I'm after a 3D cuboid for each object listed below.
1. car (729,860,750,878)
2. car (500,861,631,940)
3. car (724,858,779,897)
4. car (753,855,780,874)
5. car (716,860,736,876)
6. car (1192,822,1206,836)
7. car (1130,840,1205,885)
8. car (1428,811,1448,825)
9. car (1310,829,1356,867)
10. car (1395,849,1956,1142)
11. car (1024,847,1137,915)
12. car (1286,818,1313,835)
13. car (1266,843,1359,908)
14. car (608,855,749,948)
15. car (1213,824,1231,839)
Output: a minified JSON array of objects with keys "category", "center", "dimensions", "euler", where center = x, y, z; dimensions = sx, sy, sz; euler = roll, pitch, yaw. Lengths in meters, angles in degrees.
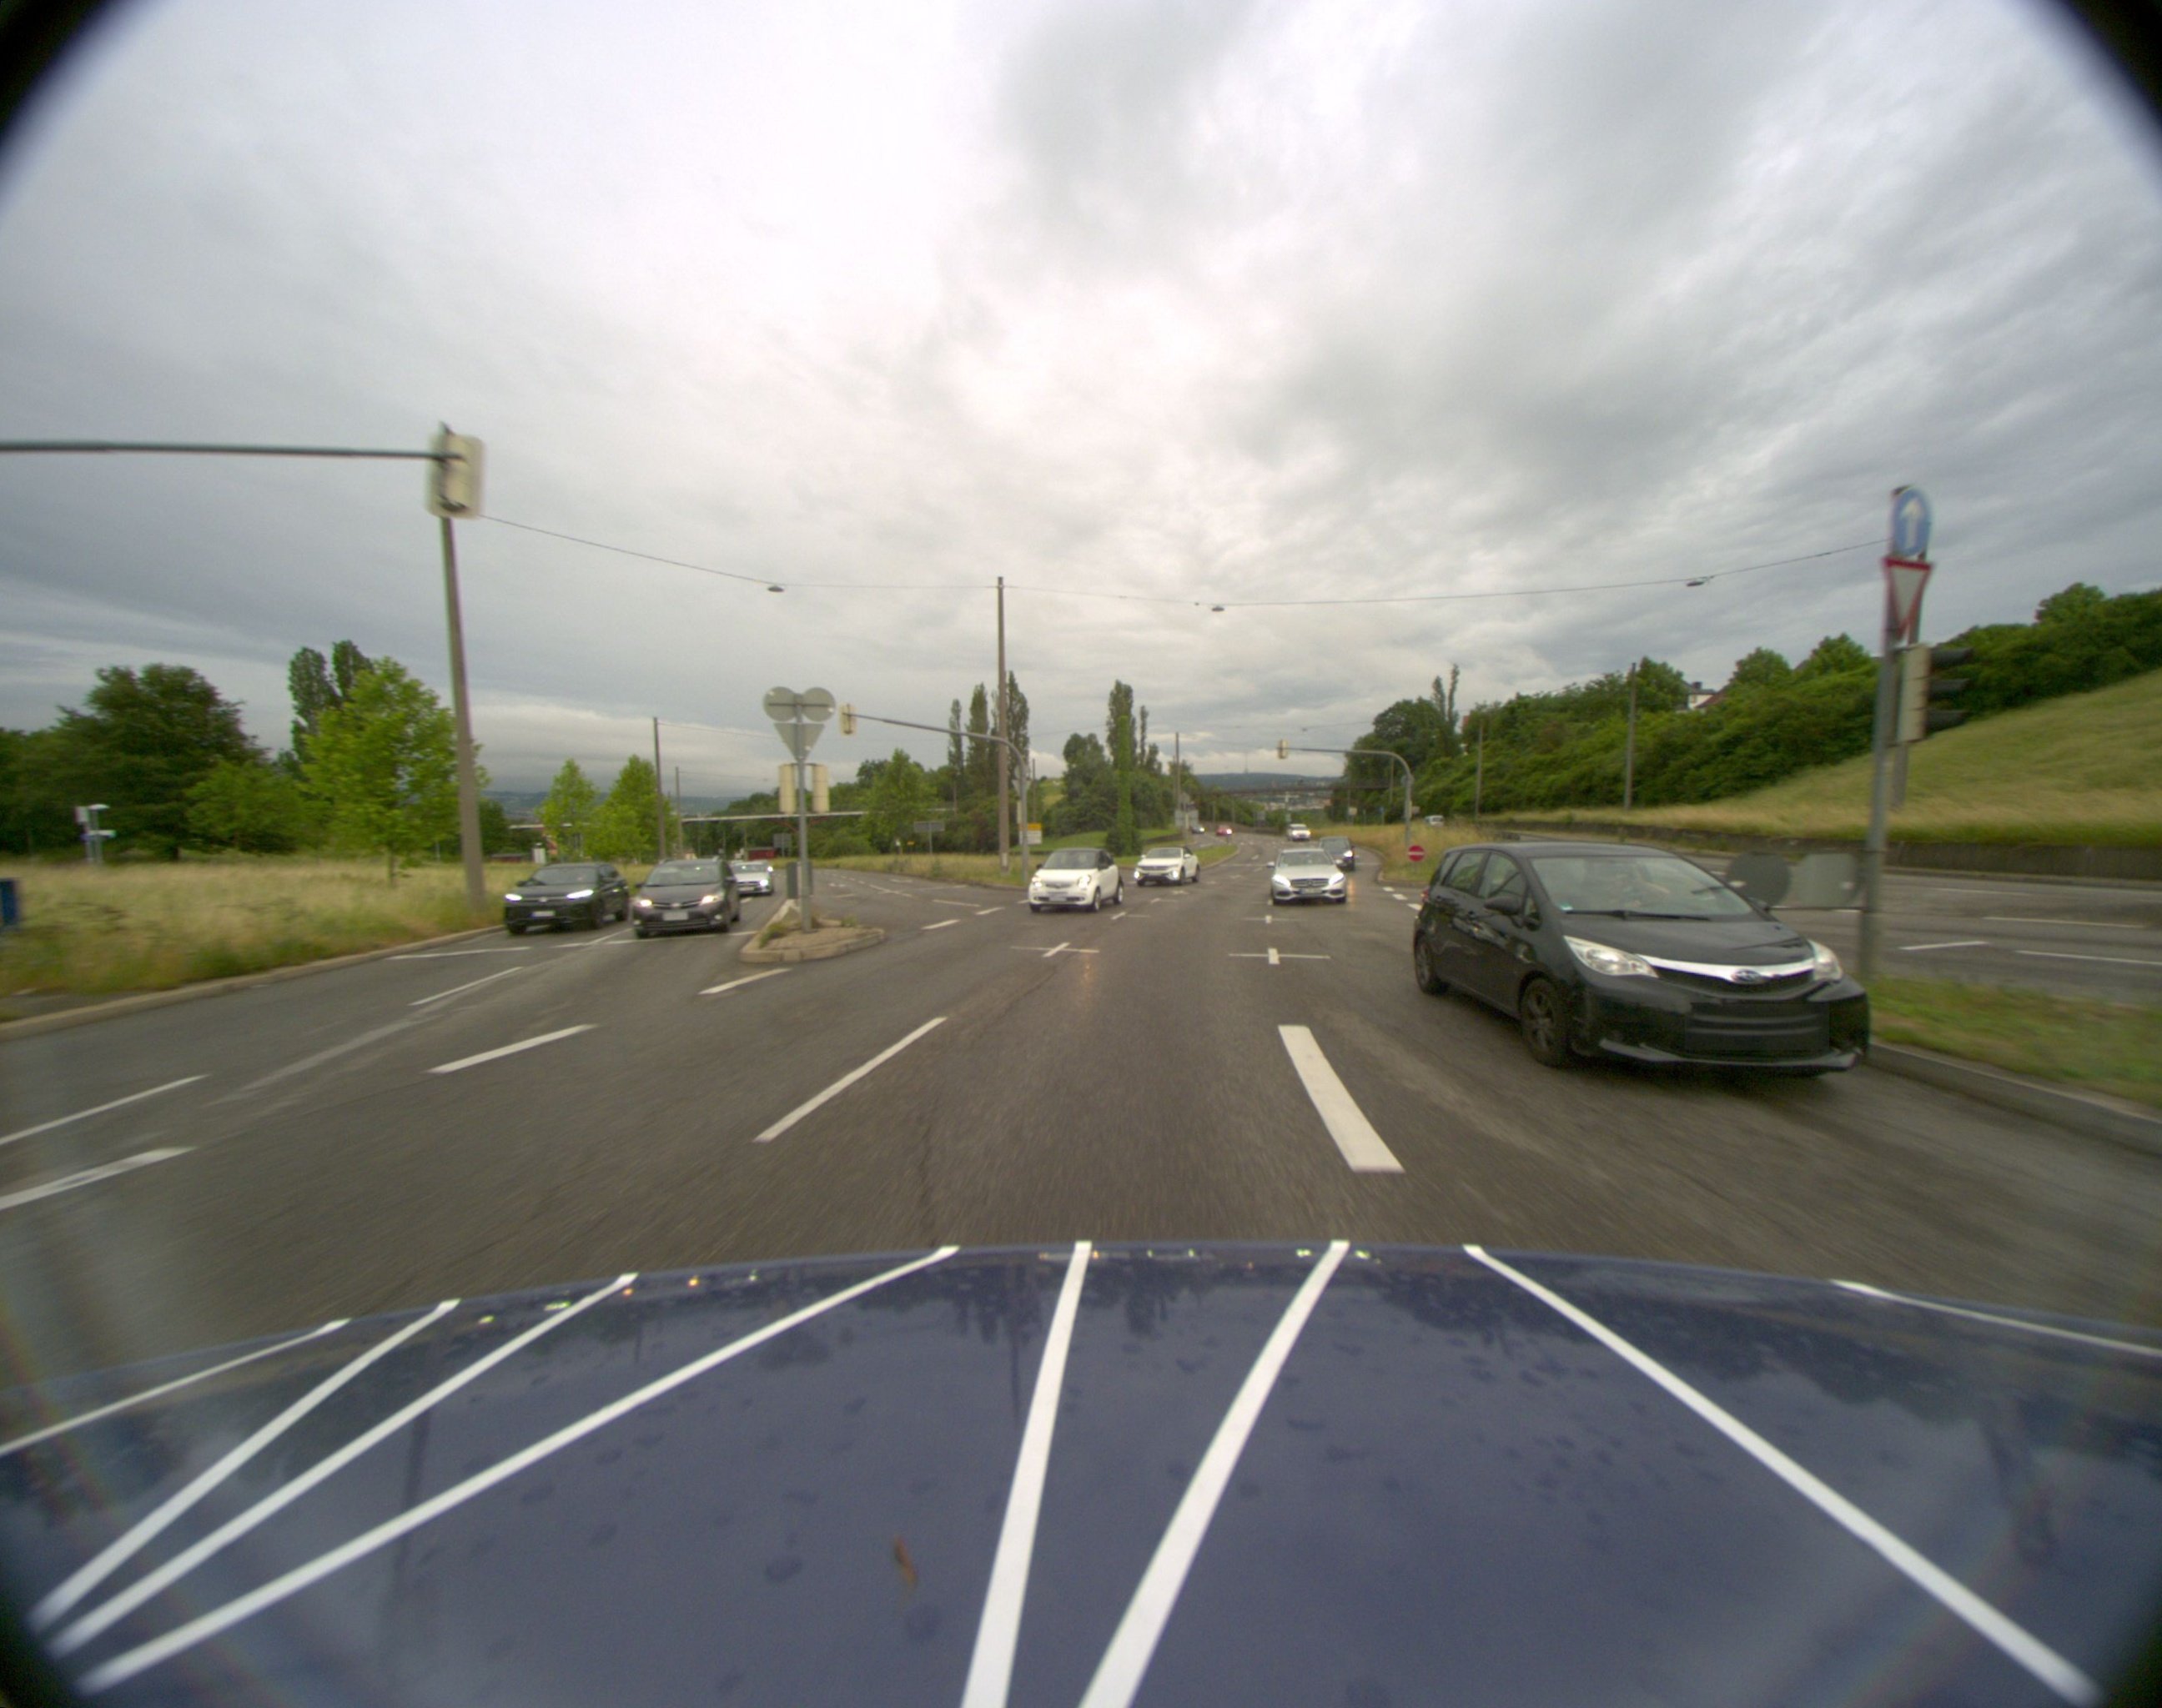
[{"category":"car","center":[-39.619,1.671,88.085],"dimensions":[1.841,1.937,3.990],"euler":[-4,2,-29]},{"category":"car","center":[-12.799,1.065,19.133],"dimensions":[1.722,1.633,3.881],"euler":[-1,1,-19]},{"category":"car","center":[-13.684,0.934,31.725],"dimensions":[1.749,1.419,3.993],"euler":[-2,1,-19]},{"category":"car","center":[-26.114,0.857,63.065],"dimensions":[1.874,1.477,3.991],"euler":[-2,1,-25]},{"category":"car","center":[-47.153,1.804,100.863],"dimensions":[2.003,2.002,3.990],"euler":[-3,2,-31]},{"category":"car","center":[18.223,-3.795,117.322],"dimensions":[1.997,2.002,4.001],"euler":[-2,1,7]},{"category":"car","center":[3.511,0.309,30.248],"dimensions":[1.840,1.532,3.823],"euler":[-1,2,24]},{"category":"car","center":[41.194,-4.162,87.611],"dimensions":[1.559,1.424,3.232],"euler":[-3,2,16]},{"category":"car","center":[12.416,-0.346,37.320],"dimensions":[1.924,1.725,4.030],"euler":[-2,1,21]},{"category":"car","center":[4.140,0.775,6.294],"dimensions":[1.799,1.557,4.044],"euler":[0,1,7]},{"category":"car","center":[0.113,0.609,19.779],"dimensions":[1.723,1.513,4.232],"euler":[0,1,17]},{"category":"car","center":[23.761,-2.946,82.617],"dimensions":[1.998,1.683,4.289],"euler":[-2,1,5]},{"category":"car","center":[6.226,0.507,20.930],"dimensions":[1.997,1.400,4.526],"euler":[-2,2,12]},{"category":"car","center":[-8.839,0.914,17.137],"dimensions":[2.001,1.633,4.620],"euler":[-3,2,-19]},{"category":"car","center":[19.610,-3.133,105.861],"dimensions":[1.998,2.002,4.001],"euler":[-2,1,6]}]
